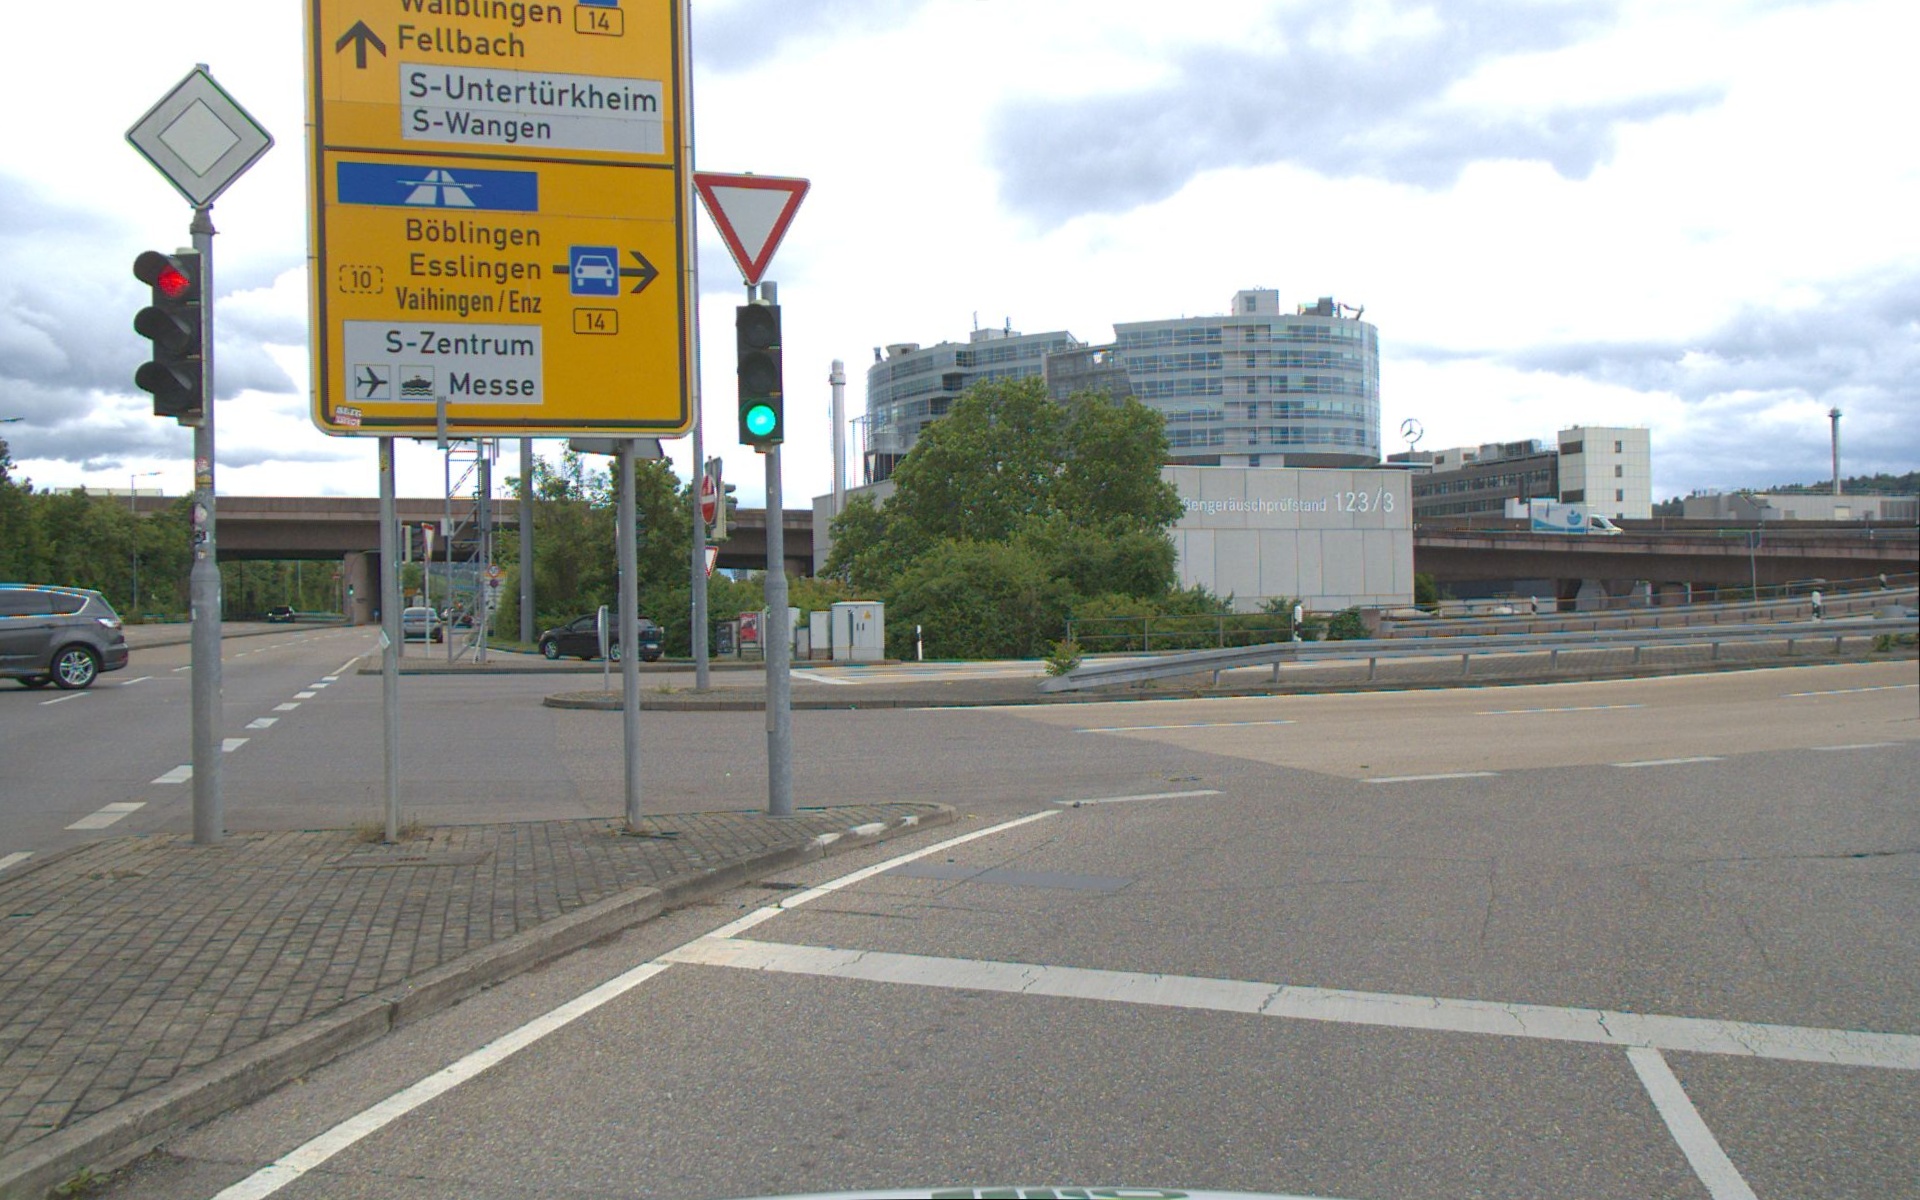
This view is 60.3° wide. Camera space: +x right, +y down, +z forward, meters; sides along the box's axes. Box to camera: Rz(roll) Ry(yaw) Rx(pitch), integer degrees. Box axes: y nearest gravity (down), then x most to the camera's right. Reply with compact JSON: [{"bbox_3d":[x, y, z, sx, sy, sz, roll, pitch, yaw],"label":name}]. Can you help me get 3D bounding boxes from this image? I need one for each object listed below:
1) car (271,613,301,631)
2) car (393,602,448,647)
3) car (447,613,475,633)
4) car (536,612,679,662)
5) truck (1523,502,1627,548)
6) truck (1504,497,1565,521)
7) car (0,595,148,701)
[{"bbox_3d":[-60.220,1.959,147.805,1.830,1.407,3.857,3,1,-13],"label":"car"},{"bbox_3d":[-22.674,0.989,69.603,1.878,1.691,4.728,3,0,-15],"label":"car"},{"bbox_3d":[-39.164,1.817,129.809,1.963,1.490,4.087,1,-2,-19],"label":"car"},{"bbox_3d":[-10.617,1.128,49.845,3.904,1.446,1.912,-1,-2,28],"label":"car"},{"bbox_3d":[47.674,-5.795,128.263,7.196,3.326,2.323,1,0,34],"label":"truck"},{"bbox_3d":[57.830,-9.181,166.537,5.510,2.201,1.999,1,0,-3],"label":"truck"},{"bbox_3d":[-15.538,0.746,25.963,1.920,1.599,4.667,1,1,41],"label":"car"}]
